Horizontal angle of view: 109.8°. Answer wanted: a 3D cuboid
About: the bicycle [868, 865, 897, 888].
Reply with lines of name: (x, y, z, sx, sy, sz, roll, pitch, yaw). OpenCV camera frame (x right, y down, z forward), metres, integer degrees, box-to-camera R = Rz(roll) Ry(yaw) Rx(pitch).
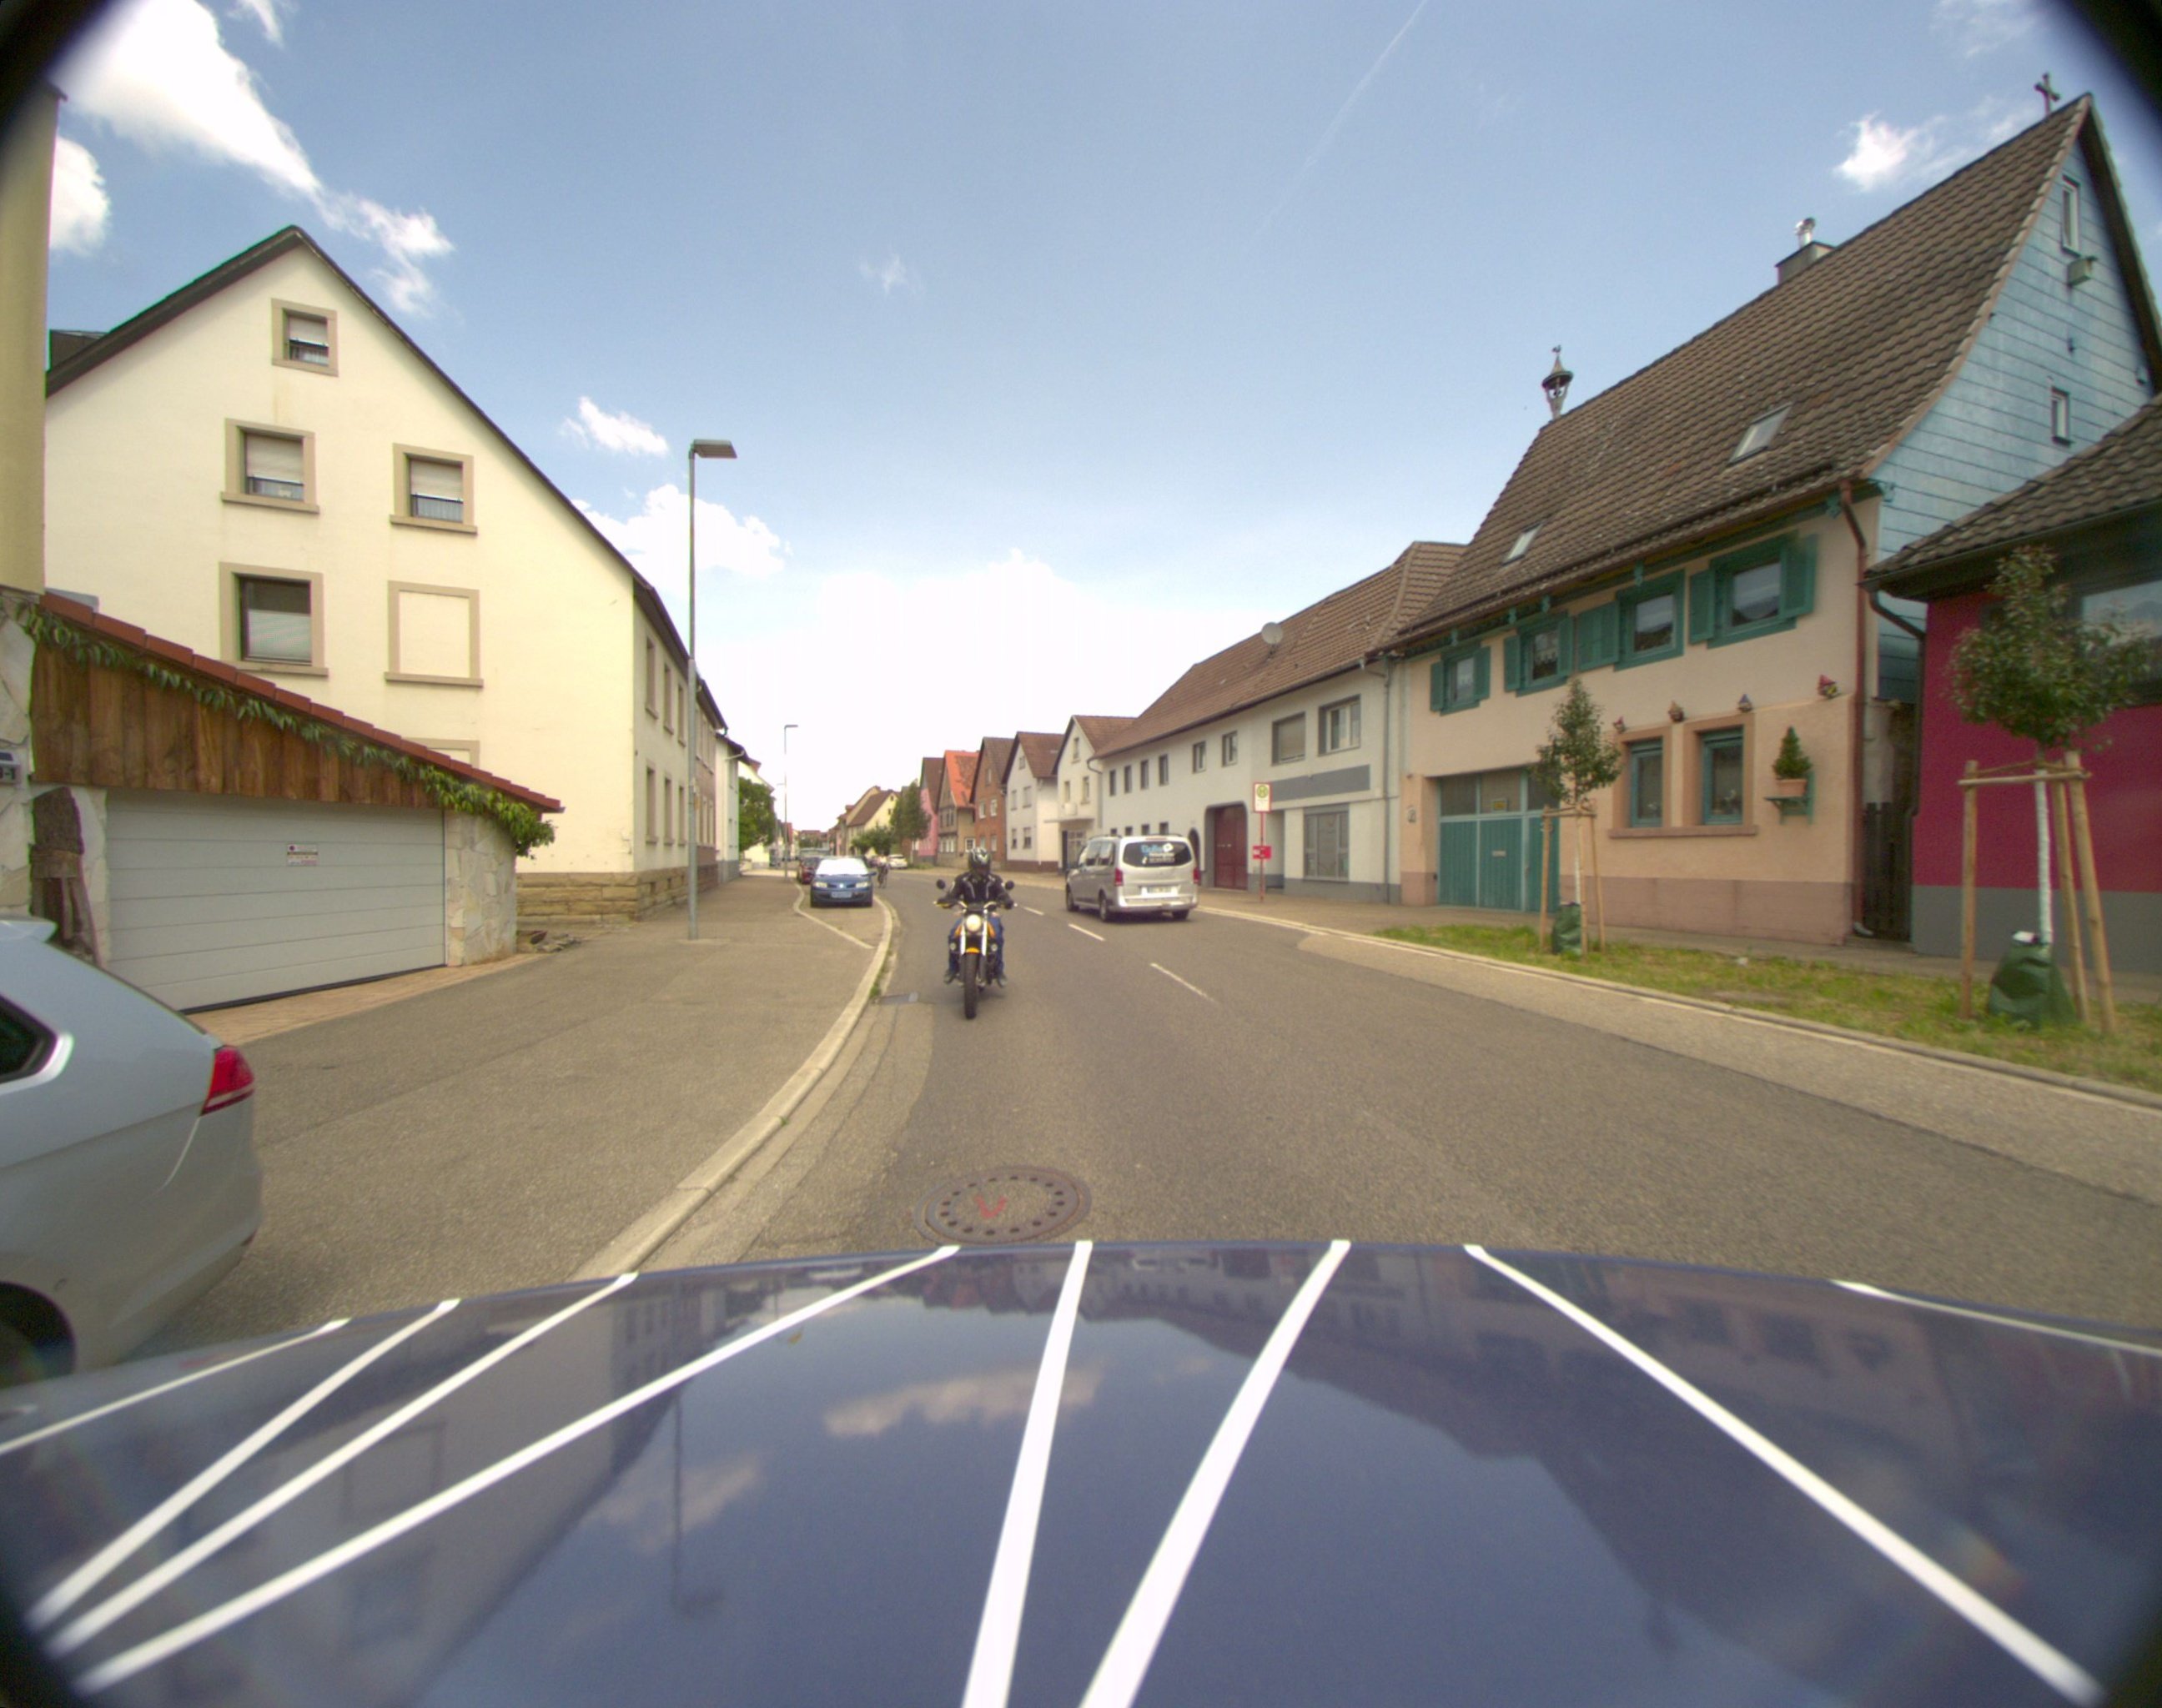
bicycle: (-9.333, 1.043, 35.754, 0.934, 1.005, 1.924, -2, 0, -4)

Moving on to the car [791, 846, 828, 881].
car: (-16.675, 0.510, 46.489, 1.933, 1.905, 5.235, -2, 2, -21)

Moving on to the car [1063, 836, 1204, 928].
car: (1.042, 0.510, 17.936, 2.000, 1.790, 4.929, -2, 2, -12)

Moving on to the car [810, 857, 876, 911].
car: (-7.203, 0.850, 23.303, 1.729, 1.378, 3.994, 0, 2, -15)

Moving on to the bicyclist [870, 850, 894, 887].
bicyclist: (-9.355, 0.680, 35.744, 0.909, 1.679, 0.760, -2, 2, -3)

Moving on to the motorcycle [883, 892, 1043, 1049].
motorcycle: (-1.090, 1.075, 7.671, 0.984, 1.234, 2.104, -3, 0, 8)

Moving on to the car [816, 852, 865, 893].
car: (-9.855, 0.765, 31.147, 1.775, 1.520, 3.995, -1, -1, -18)

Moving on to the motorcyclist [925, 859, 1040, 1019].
motorcyclist: (-1.031, 0.877, 8.159, 0.999, 1.591, 0.800, -1, 2, 8)

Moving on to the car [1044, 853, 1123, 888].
car: (0.017, 0.659, 32.472, 1.773, 1.341, 4.747, -2, 0, -21)

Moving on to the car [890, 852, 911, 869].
car: (-17.994, 0.590, 75.722, 1.686, 1.521, 3.492, -2, 2, -19)

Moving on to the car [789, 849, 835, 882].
car: (-14.324, 0.588, 40.363, 1.668, 1.638, 3.991, -3, 1, -28)
